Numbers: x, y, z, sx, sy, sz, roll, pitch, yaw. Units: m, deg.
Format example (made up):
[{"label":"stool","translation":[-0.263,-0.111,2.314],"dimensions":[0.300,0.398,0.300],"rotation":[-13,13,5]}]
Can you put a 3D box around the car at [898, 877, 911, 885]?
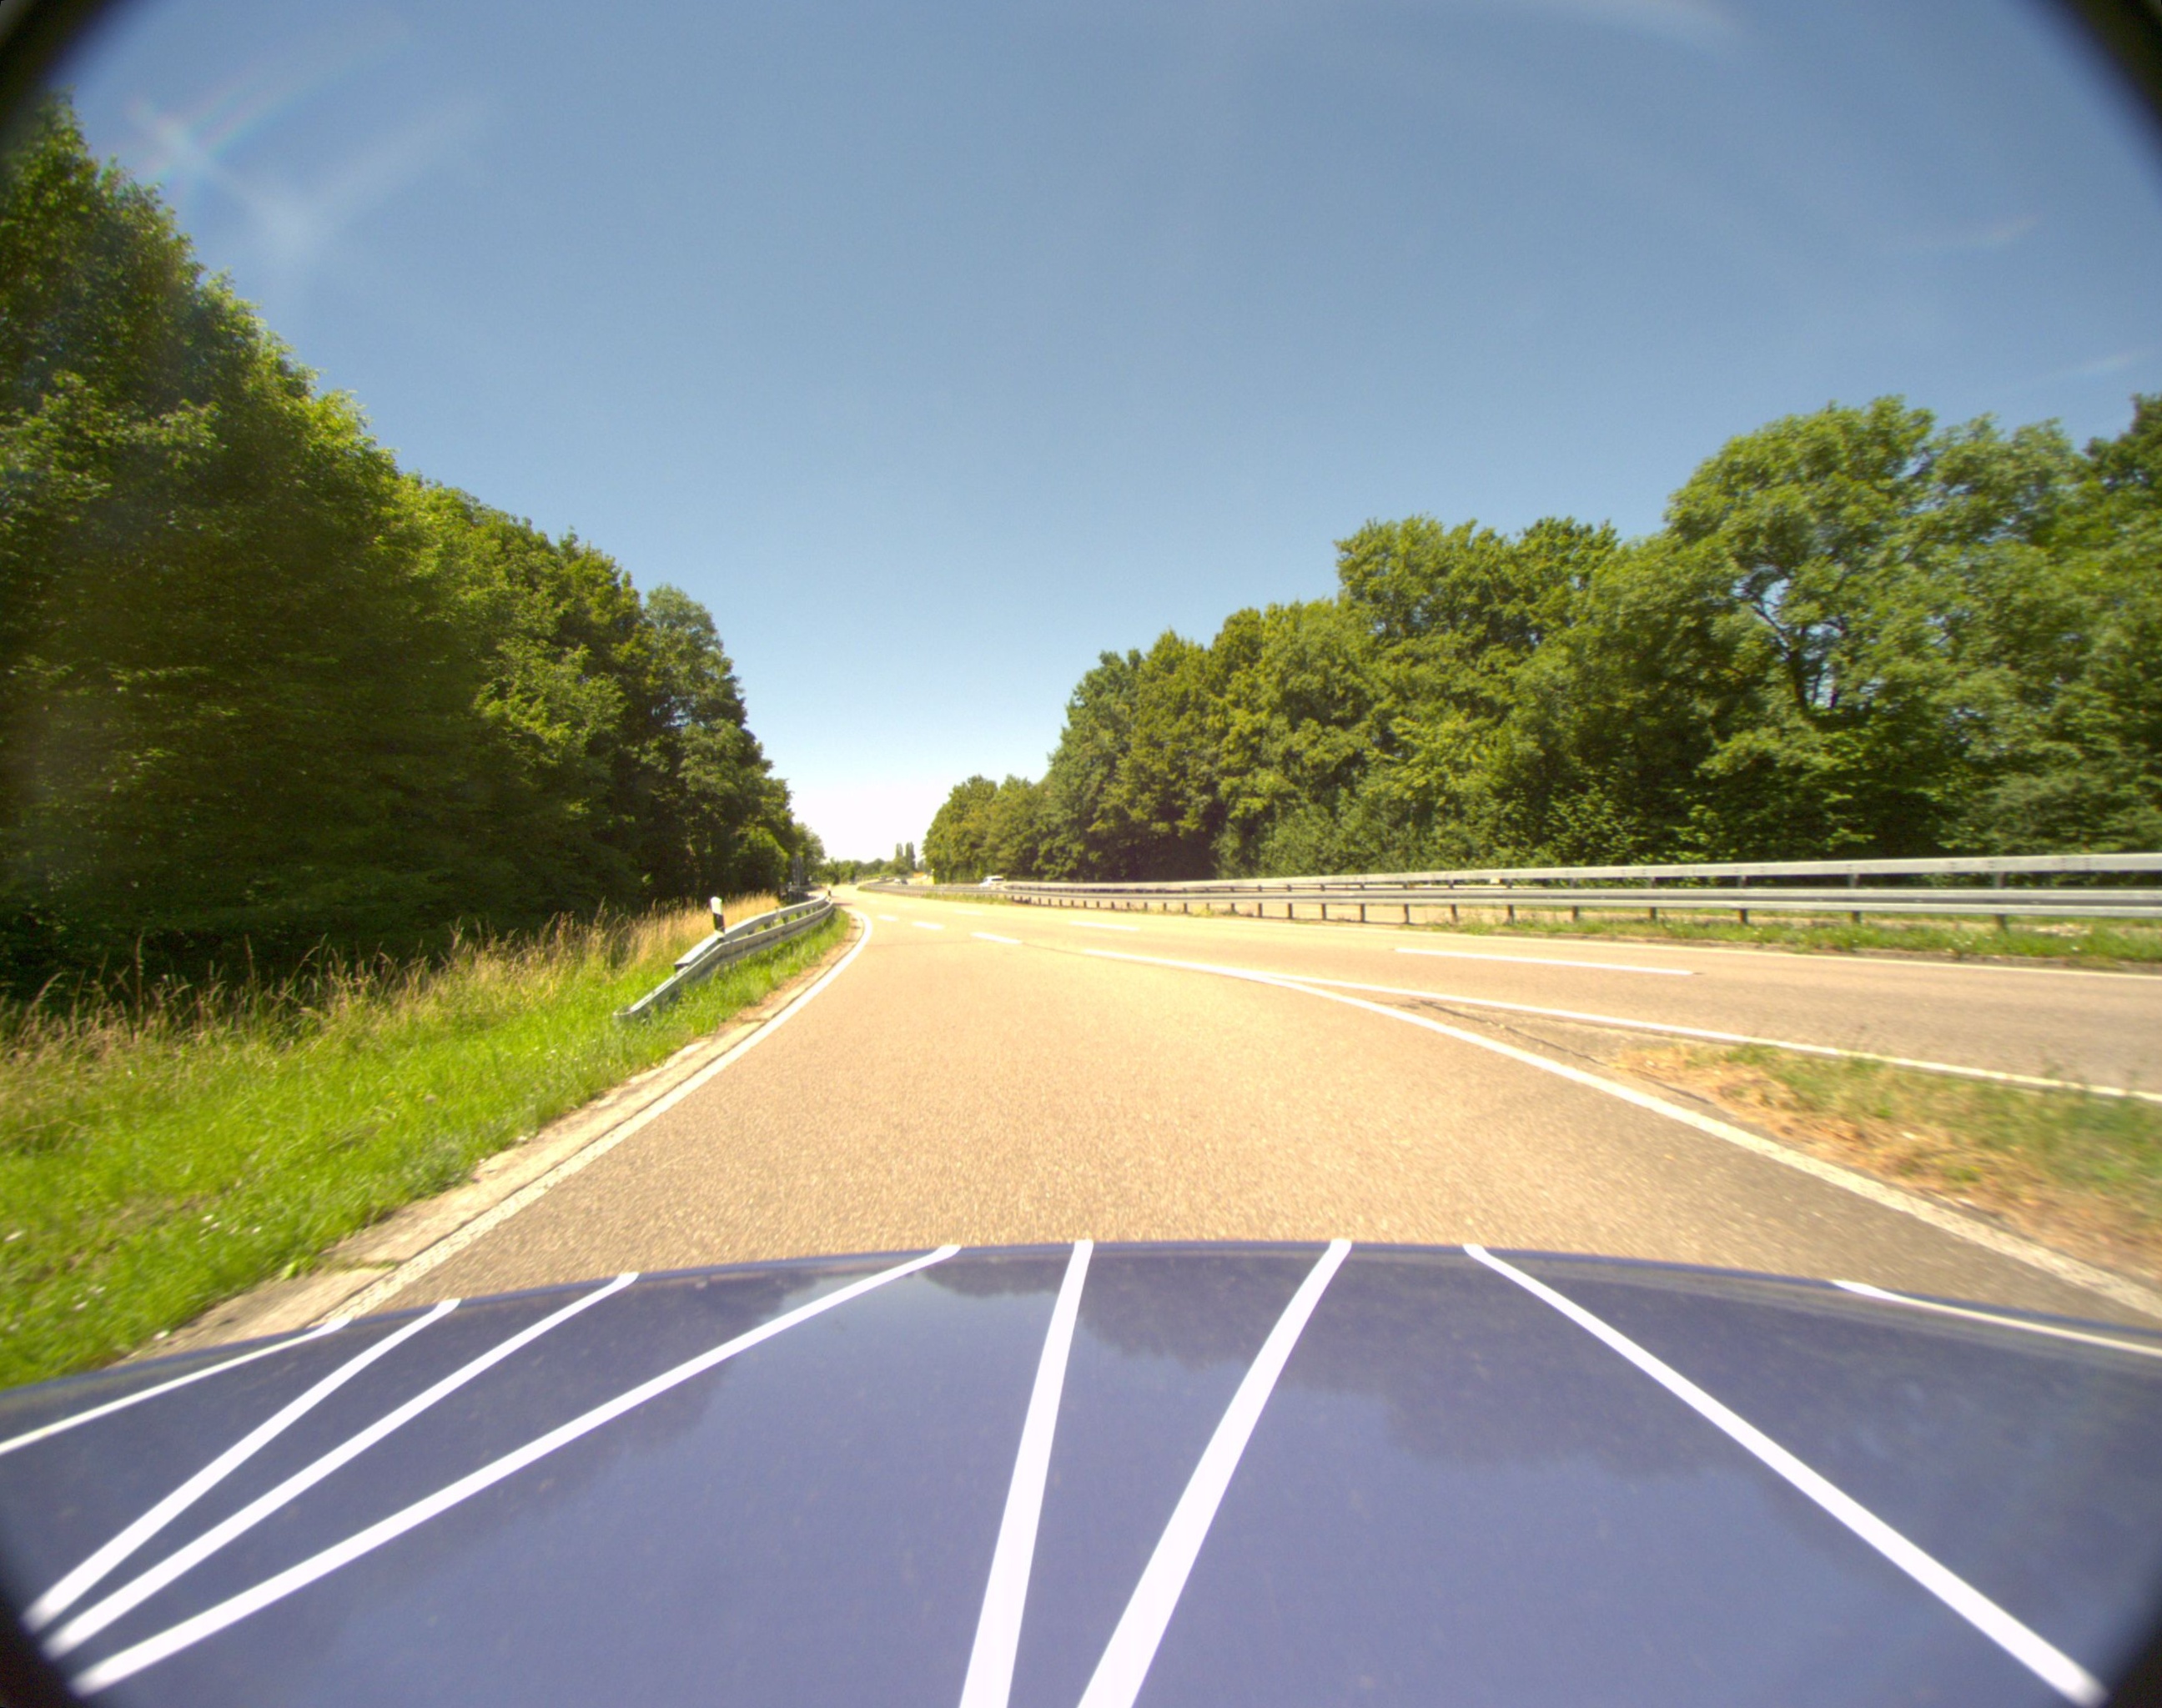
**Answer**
[{"label":"car","translation":[-33.475,5.111,144.160],"dimensions":[1.763,1.519,4.677],"rotation":[-1,-1,-21]}]

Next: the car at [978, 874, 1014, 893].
[{"label":"car","translation":[-7.458,2.528,66.278],"dimensions":[1.764,1.563,4.405],"rotation":[-1,-1,-25]}]

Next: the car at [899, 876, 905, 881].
[{"label":"car","translation":[-54.317,7.425,230.304],"dimensions":[1.657,1.597,4.216],"rotation":[-1,-1,-13]}]
